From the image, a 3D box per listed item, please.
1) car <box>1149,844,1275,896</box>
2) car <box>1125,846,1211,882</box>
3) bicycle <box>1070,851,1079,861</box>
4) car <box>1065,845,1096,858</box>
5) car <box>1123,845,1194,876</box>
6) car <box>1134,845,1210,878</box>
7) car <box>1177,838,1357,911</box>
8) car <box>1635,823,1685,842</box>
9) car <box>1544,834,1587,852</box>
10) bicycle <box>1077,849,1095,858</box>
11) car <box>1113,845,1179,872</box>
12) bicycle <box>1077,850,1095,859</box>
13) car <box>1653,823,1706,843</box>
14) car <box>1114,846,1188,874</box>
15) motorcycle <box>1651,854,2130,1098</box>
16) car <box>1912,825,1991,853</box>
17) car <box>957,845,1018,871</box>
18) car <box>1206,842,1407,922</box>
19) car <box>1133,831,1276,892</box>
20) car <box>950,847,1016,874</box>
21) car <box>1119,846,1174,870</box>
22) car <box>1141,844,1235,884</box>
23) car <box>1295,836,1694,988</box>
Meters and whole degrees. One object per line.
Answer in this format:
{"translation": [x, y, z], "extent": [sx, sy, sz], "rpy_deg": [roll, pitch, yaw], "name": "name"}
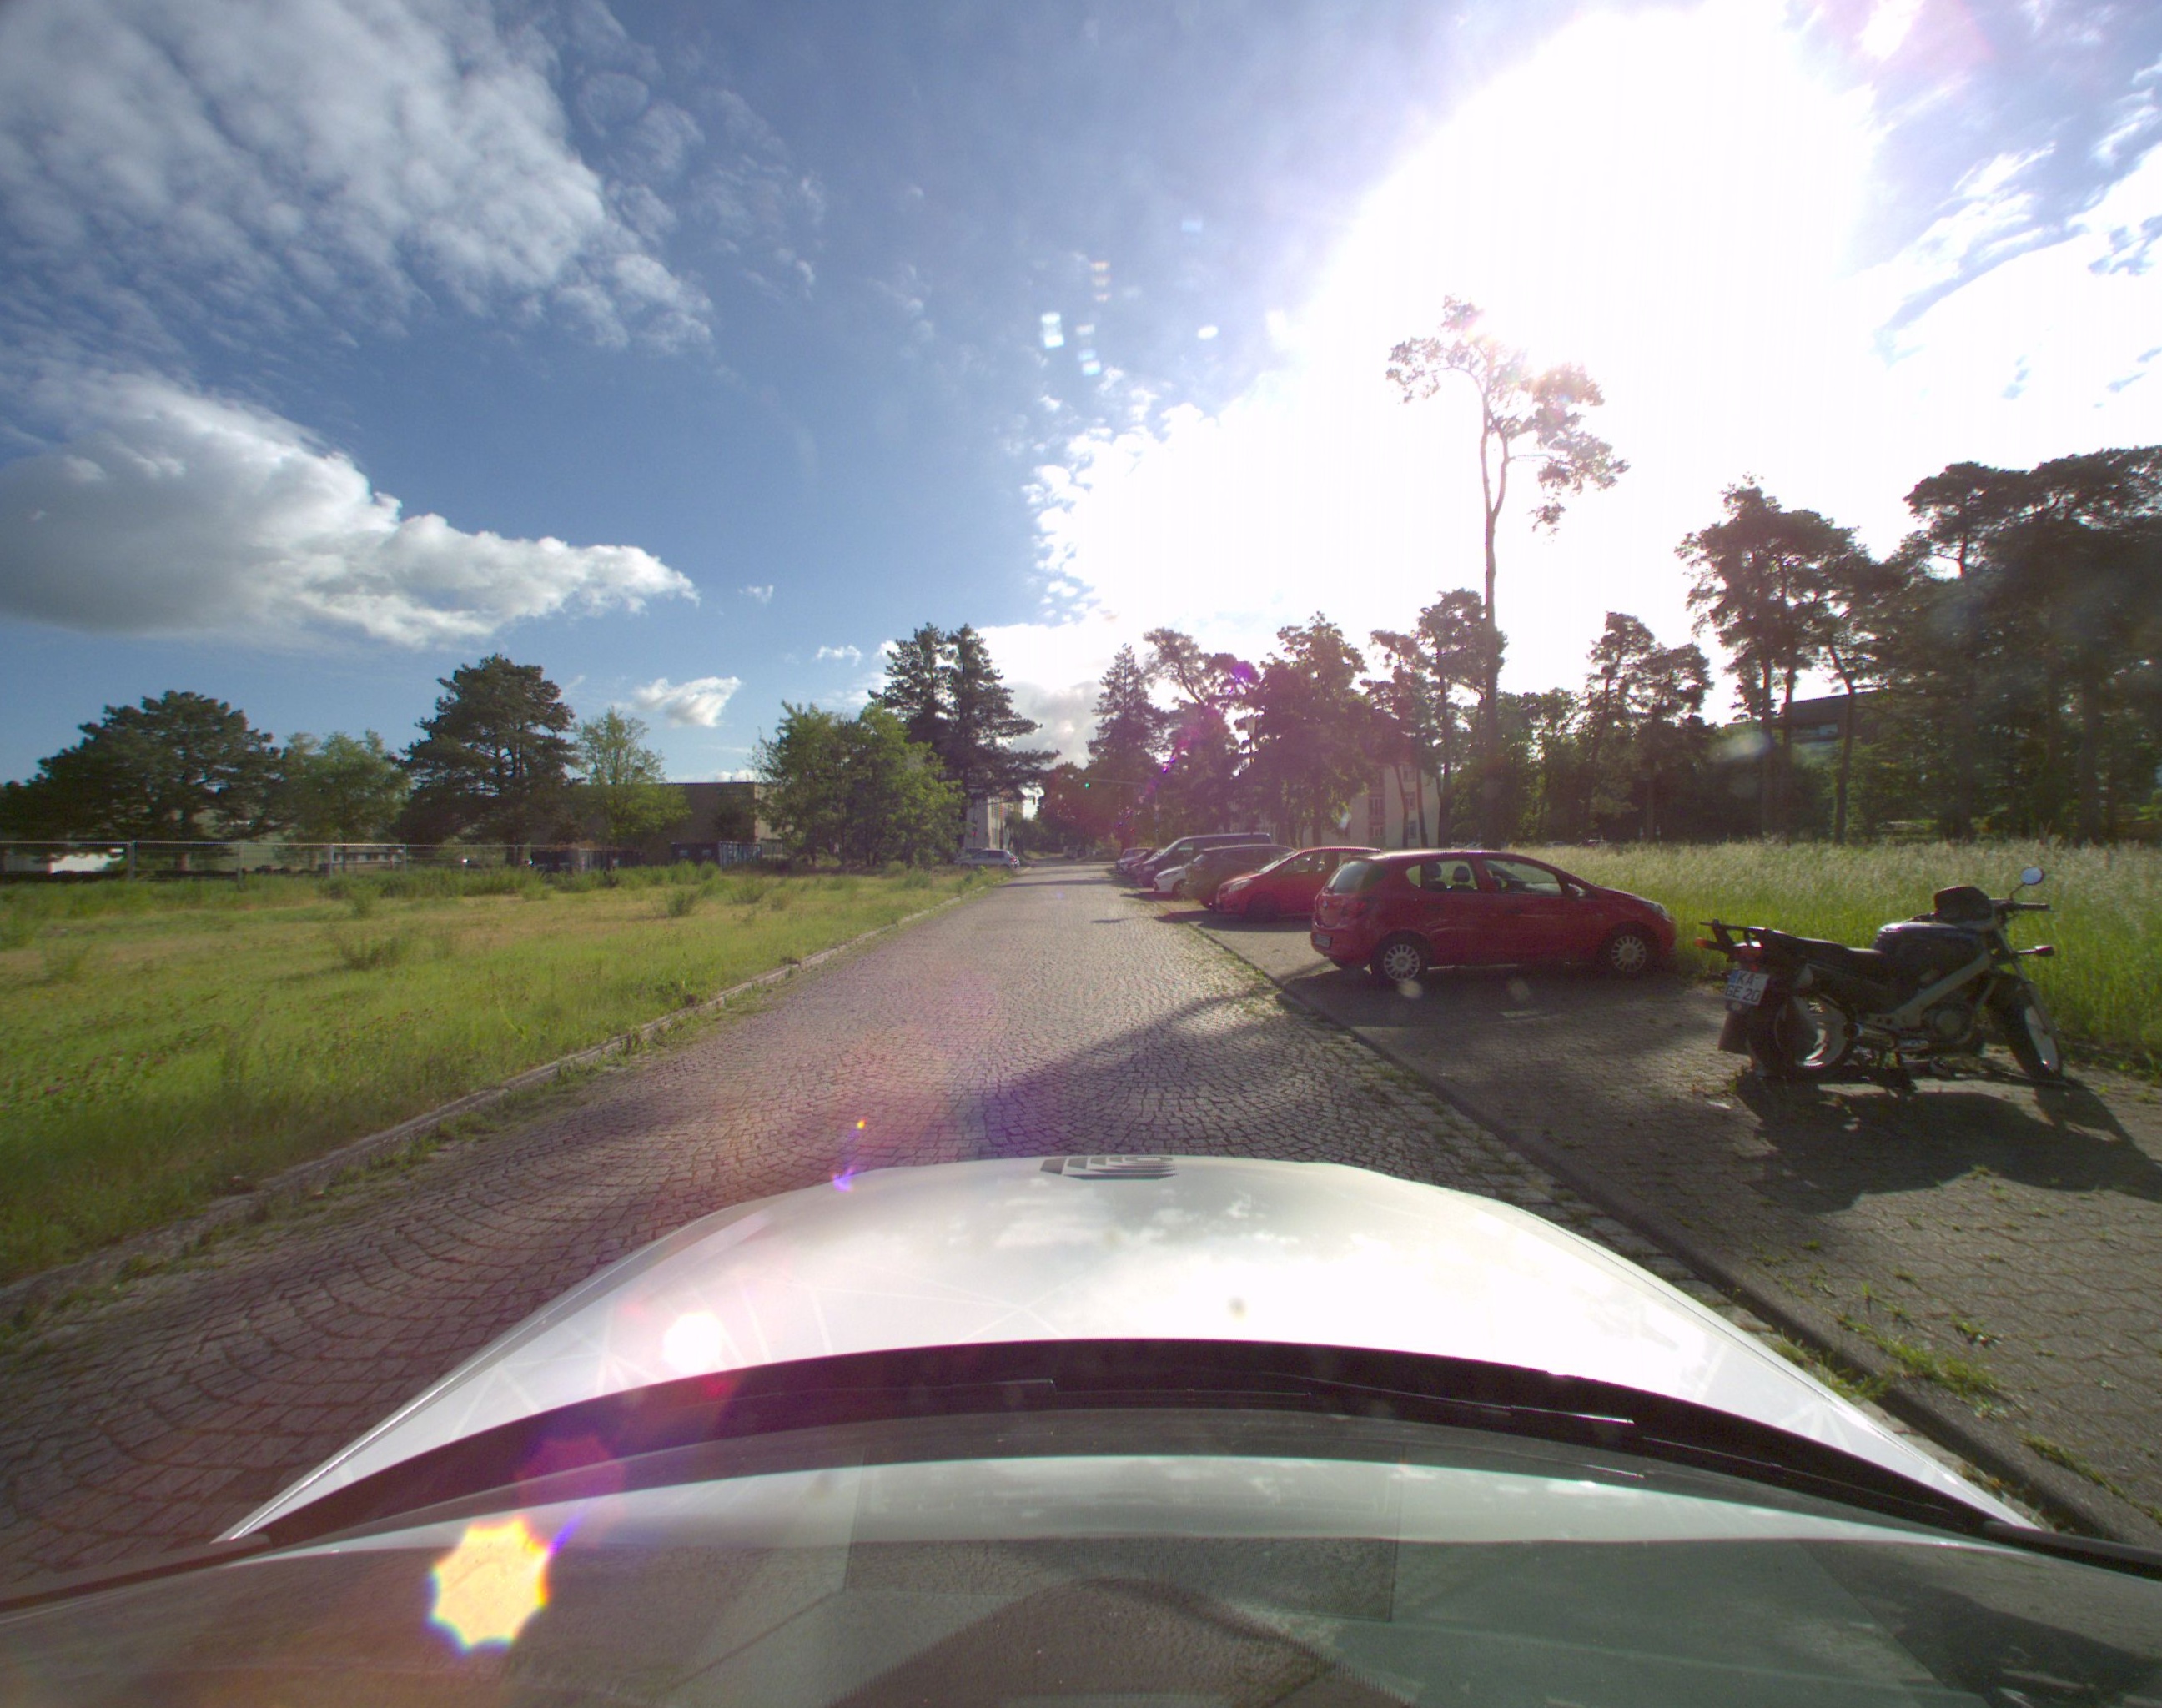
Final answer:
{"translation": [4.156, 0.481, 26.181], "extent": [3.711, 1.488, 1.643], "rpy_deg": [-2, 0, -3], "name": "car"}
{"translation": [3.890, 0.425, 36.918], "extent": [3.666, 1.467, 1.644], "rpy_deg": [-2, 0, -2], "name": "car"}
{"translation": [-0.804, 0.221, 97.149], "extent": [0.803, 1.169, 2.175], "rpy_deg": [-3, 1, -6], "name": "bicycle"}
{"translation": [-0.107, -0.377, 118.848], "extent": [4.468, 1.728, 1.999], "rpy_deg": [0, 0, -2], "name": "car"}
{"translation": [4.015, 0.345, 42.530], "extent": [3.469, 1.529, 1.644], "rpy_deg": [-1, 0, -2], "name": "car"}
{"translation": [4.425, 0.362, 39.847], "extent": [3.469, 1.529, 1.644], "rpy_deg": [-1, 0, -2], "name": "car"}
{"translation": [4.430, 0.474, 19.769], "extent": [3.926, 1.621, 1.770], "rpy_deg": [-1, 0, -2], "name": "car"}
{"translation": [61.601, -2.283, 86.699], "extent": [3.975, 2.013, 1.999], "rpy_deg": [-1, 0, -1], "name": "car"}
{"translation": [56.974, -1.310, 95.799], "extent": [3.975, 2.013, 1.999], "rpy_deg": [-1, 0, -1], "name": "car"}
{"translation": [0.678, -0.078, 102.504], "extent": [2.173, 1.100, 0.804], "rpy_deg": [0, 0, -11], "name": "bicycle"}
{"translation": [3.941, 0.254, 49.838], "extent": [3.826, 1.529, 1.644], "rpy_deg": [-1, 0, -2], "name": "car"}
{"translation": [0.584, 0.019, 101.394], "extent": [2.173, 1.100, 0.804], "rpy_deg": [0, 0, -11], "name": "bicycle"}
{"translation": [61.519, -2.147, 83.757], "extent": [3.975, 2.013, 1.999], "rpy_deg": [-1, 0, -1], "name": "car"}
{"translation": [4.023, 0.309, 47.069], "extent": [4.027, 1.529, 1.643], "rpy_deg": [-1, 0, -5], "name": "car"}
{"translation": [4.953, 0.702, 5.079], "extent": [2.293, 1.320, 0.726], "rpy_deg": [-2, 0, -2], "name": "motorcycle"}
{"translation": [66.530, -1.141, 62.298], "extent": [3.975, 2.013, 1.999], "rpy_deg": [-1, 0, -1], "name": "car"}
{"translation": [-6.477, 0.242, 56.869], "extent": [3.976, 1.601, 1.999], "rpy_deg": [2, 0, -2], "name": "car"}
{"translation": [4.642, 0.540, 17.097], "extent": [3.753, 1.530, 1.644], "rpy_deg": [-1, 0, -2], "name": "car"}
{"translation": [4.296, 0.235, 28.774], "extent": [4.667, 2.013, 2.081], "rpy_deg": [-1, 0, -4], "name": "car"}
{"translation": [-6.137, 0.422, 51.488], "extent": [3.979, 1.600, 1.998], "rpy_deg": [-1, 0, -4], "name": "car"}
{"translation": [4.215, 0.263, 52.484], "extent": [3.335, 1.482, 1.644], "rpy_deg": [-1, 0, -2], "name": "car"}
{"translation": [4.436, 0.391, 34.042], "extent": [3.682, 1.465, 1.645], "rpy_deg": [-3, 0, 0], "name": "car"}
{"translation": [4.633, 0.602, 9.484], "extent": [3.817, 1.478, 1.644], "rpy_deg": [-2, 0, -2], "name": "car"}
